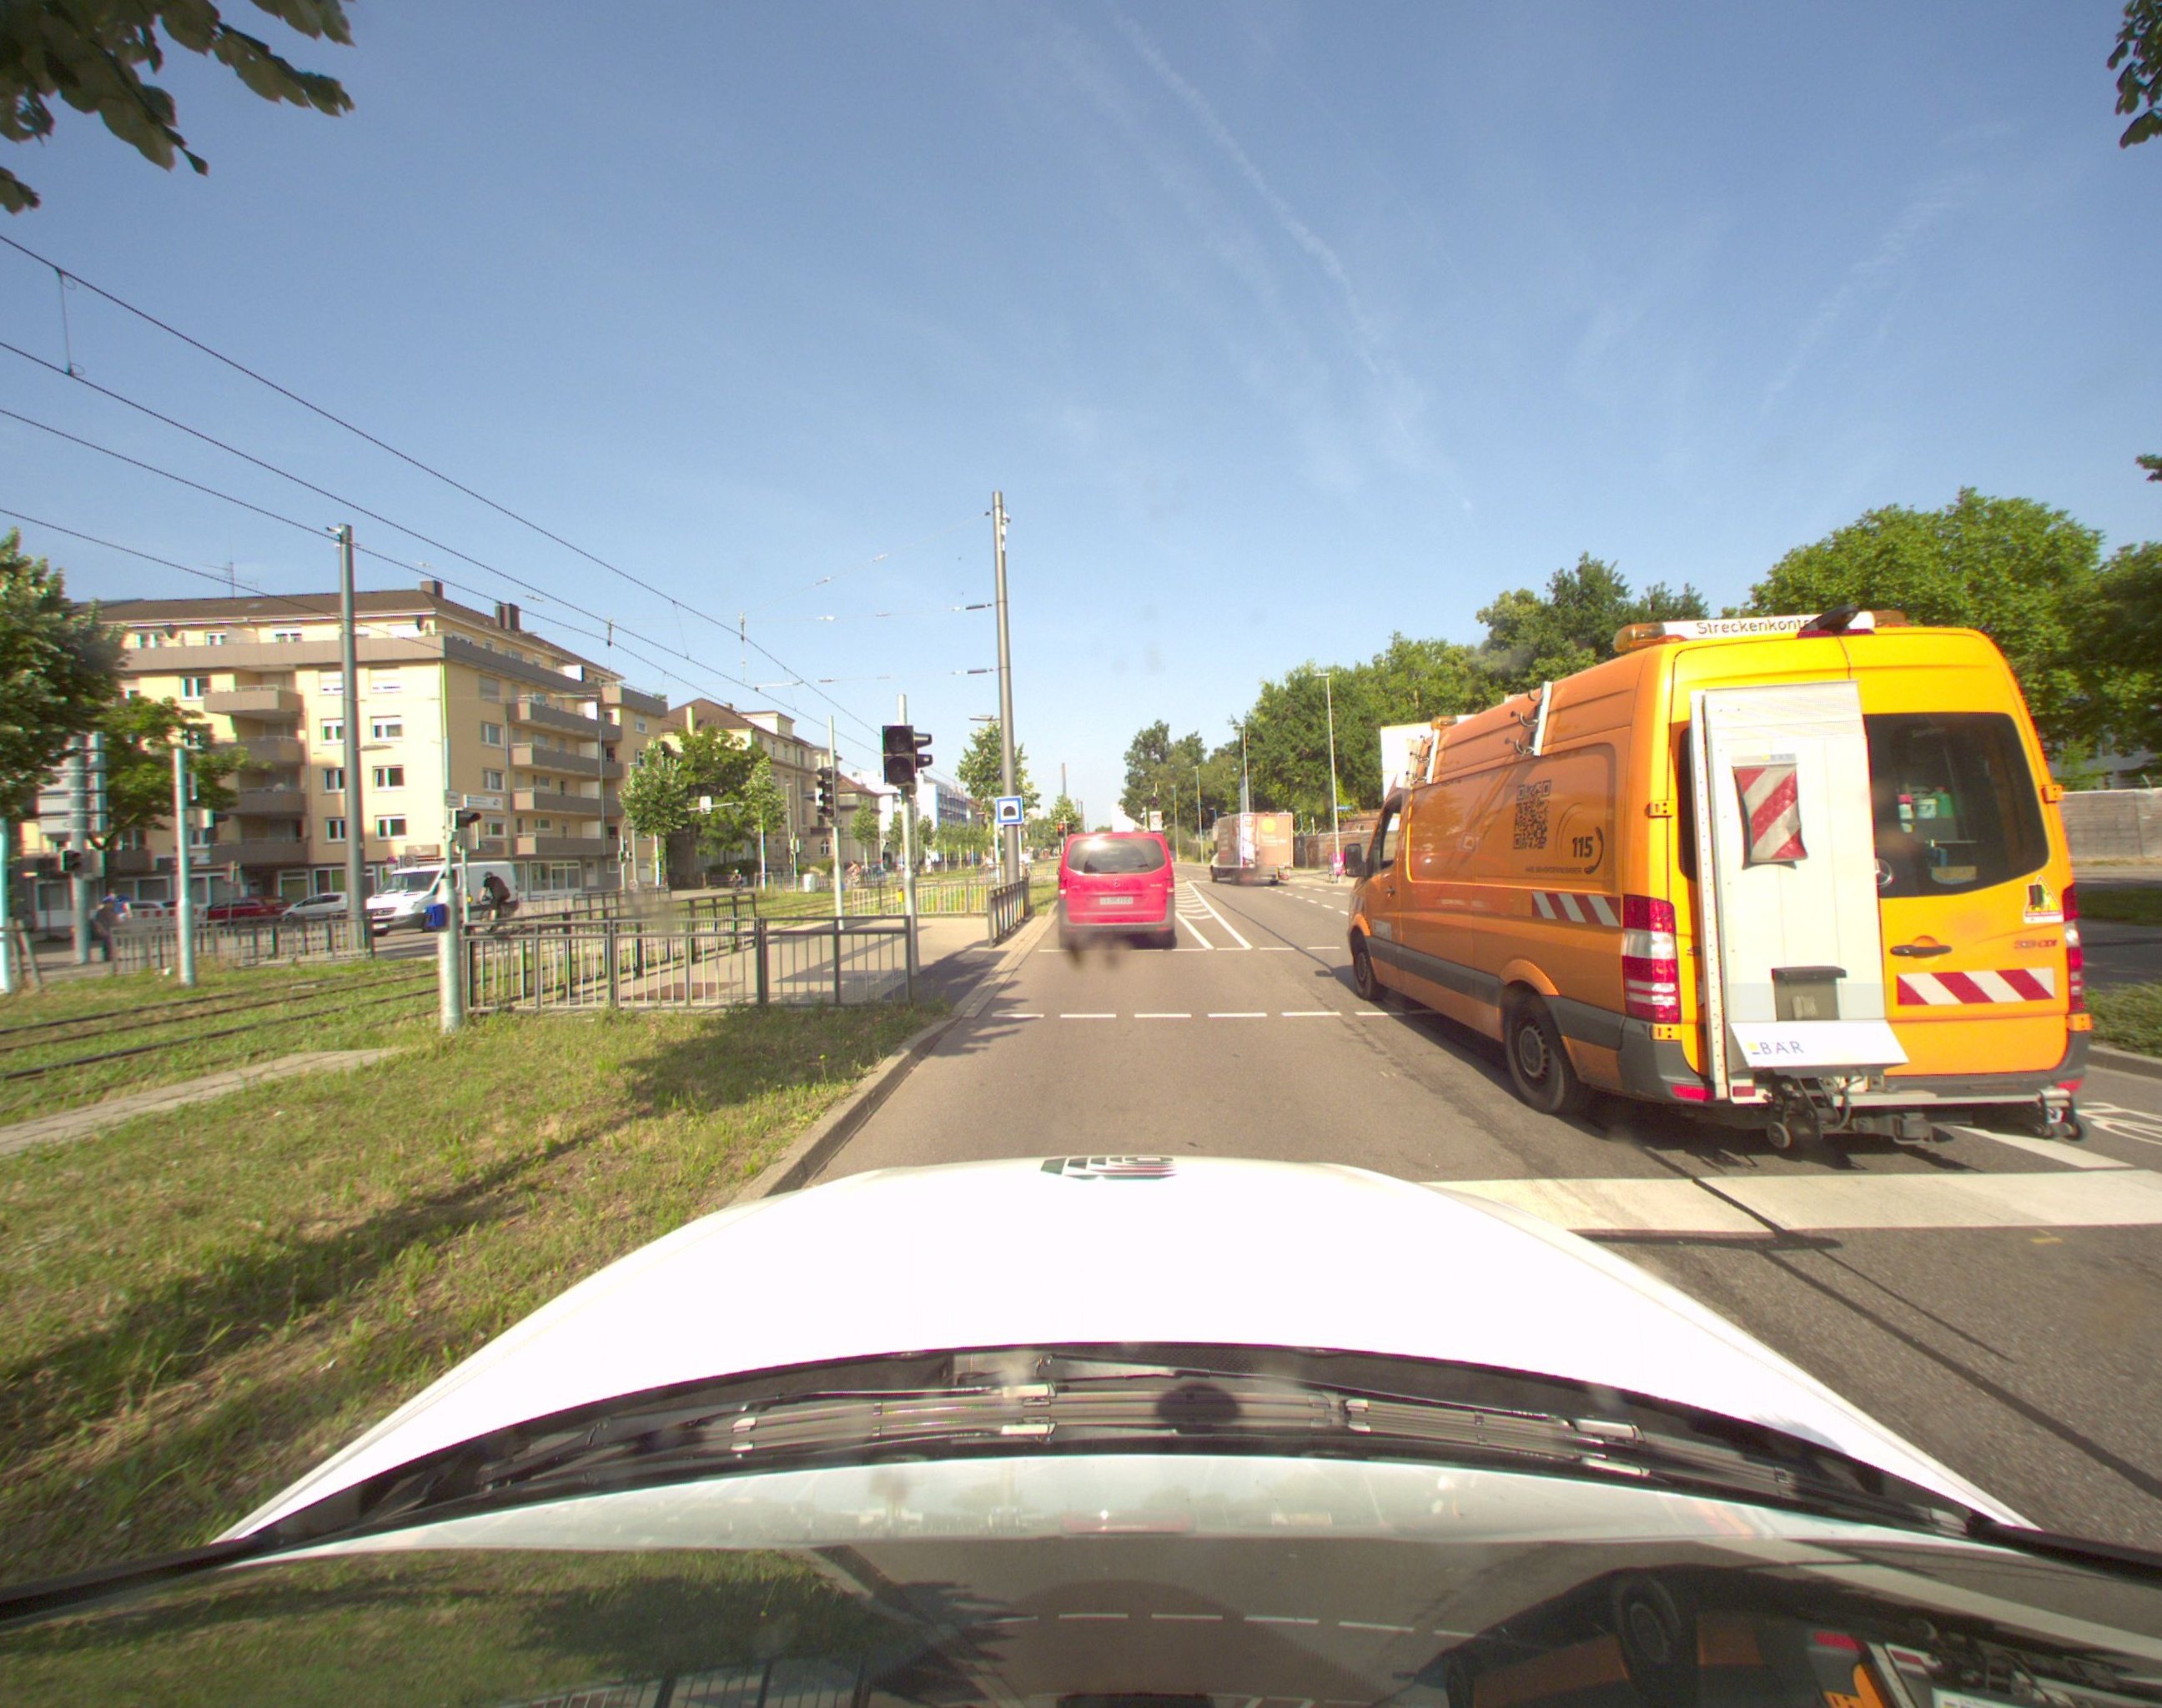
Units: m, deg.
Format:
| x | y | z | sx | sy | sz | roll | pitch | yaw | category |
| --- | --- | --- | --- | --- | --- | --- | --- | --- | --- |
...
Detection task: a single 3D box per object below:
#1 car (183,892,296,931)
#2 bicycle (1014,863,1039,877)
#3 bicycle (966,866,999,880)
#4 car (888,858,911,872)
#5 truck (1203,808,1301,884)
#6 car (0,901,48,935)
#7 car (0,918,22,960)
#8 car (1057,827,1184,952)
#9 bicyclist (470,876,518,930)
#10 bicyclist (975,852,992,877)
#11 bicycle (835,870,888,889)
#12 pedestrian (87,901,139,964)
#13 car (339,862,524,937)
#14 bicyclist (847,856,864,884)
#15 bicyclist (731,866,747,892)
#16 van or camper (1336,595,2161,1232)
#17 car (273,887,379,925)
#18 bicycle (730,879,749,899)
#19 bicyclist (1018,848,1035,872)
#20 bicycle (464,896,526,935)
| x | y | z | sx | sy | sz | roll | pitch | yaw | category |
| --- | --- | --- | --- | --- | --- | --- | --- | --- | --- |
| -43.003 | 2.940 | 41.669 | 3.777 | 1.688 | 1.773 | -3 | 0 | -2 | car |
| -3.315 | 0.958 | 49.453 | 0.711 | 0.798 | 1.613 | -1 | -1 | 30 | bicycle |
| -6.194 | 1.173 | 51.205 | 1.991 | 0.793 | 0.629 | -3 | 0 | -2 | bicycle |
| -27.927 | 1.671 | 125.541 | 2.242 | 2.014 | 5.261 | 0 | -2 | 0 | car |
| 7.472 | -0.285 | 36.699 | 2.496 | 3.061 | 7.812 | 0 | -1 | -2 | truck |
| -55.940 | 3.354 | 41.528 | 3.931 | 1.604 | 1.814 | -3 | 0 | -3 | car |
| -44.194 | 3.423 | 31.065 | 1.904 | 1.628 | 4.378 | 0 | -1 | -1 | car |
| 0.656 | 0.534 | 14.211 | 1.894 | 1.859 | 4.002 | -1 | 0 | 2 | car |
| -16.400 | 1.355 | 22.745 | 0.962 | 1.395 | 0.549 | -5 | 1 | 22 | bicyclist |
| -6.135 | 0.677 | 51.203 | 0.980 | 1.500 | 0.620 | -3 | 0 | -2 | bicyclist |
| -13.508 | 1.562 | 50.199 | 2.987 | 0.965 | 0.897 | -2 | 0 | -10 | bicycle |
| -27.243 | 2.193 | 22.928 | 0.655 | 1.690 | 0.646 | -3 | 0 | 5 | pedestrian |
| -22.365 | 1.467 | 28.412 | 2.038 | 2.238 | 5.335 | -2 | 0 | 1 | car |
| -13.884 | 0.971 | 50.154 | 0.890 | 1.628 | 0.889 | -2 | 0 | -10 | bicyclist |
| -24.623 | 1.819 | 58.665 | 0.667 | 1.805 | 1.082 | -2 | 0 | -3 | bicyclist |
| 3.679 | 0.217 | 6.235 | 1.977 | 2.472 | 6.069 | -1 | 0 | 4 | van or camper |
| -38.467 | 2.620 | 41.585 | 3.613 | 1.583 | 1.708 | -3 | 2 | -2 | car |
| -24.595 | 2.481 | 58.698 | 0.693 | 1.346 | 1.755 | -2 | 0 | -3 | bicycle |
| -3.315 | 0.346 | 49.457 | 0.679 | 1.440 | 0.811 | -1 | -1 | 30 | bicyclist |
| -16.379 | 1.717 | 22.757 | 1.593 | 0.935 | 0.561 | -5 | 1 | 22 | bicycle |
